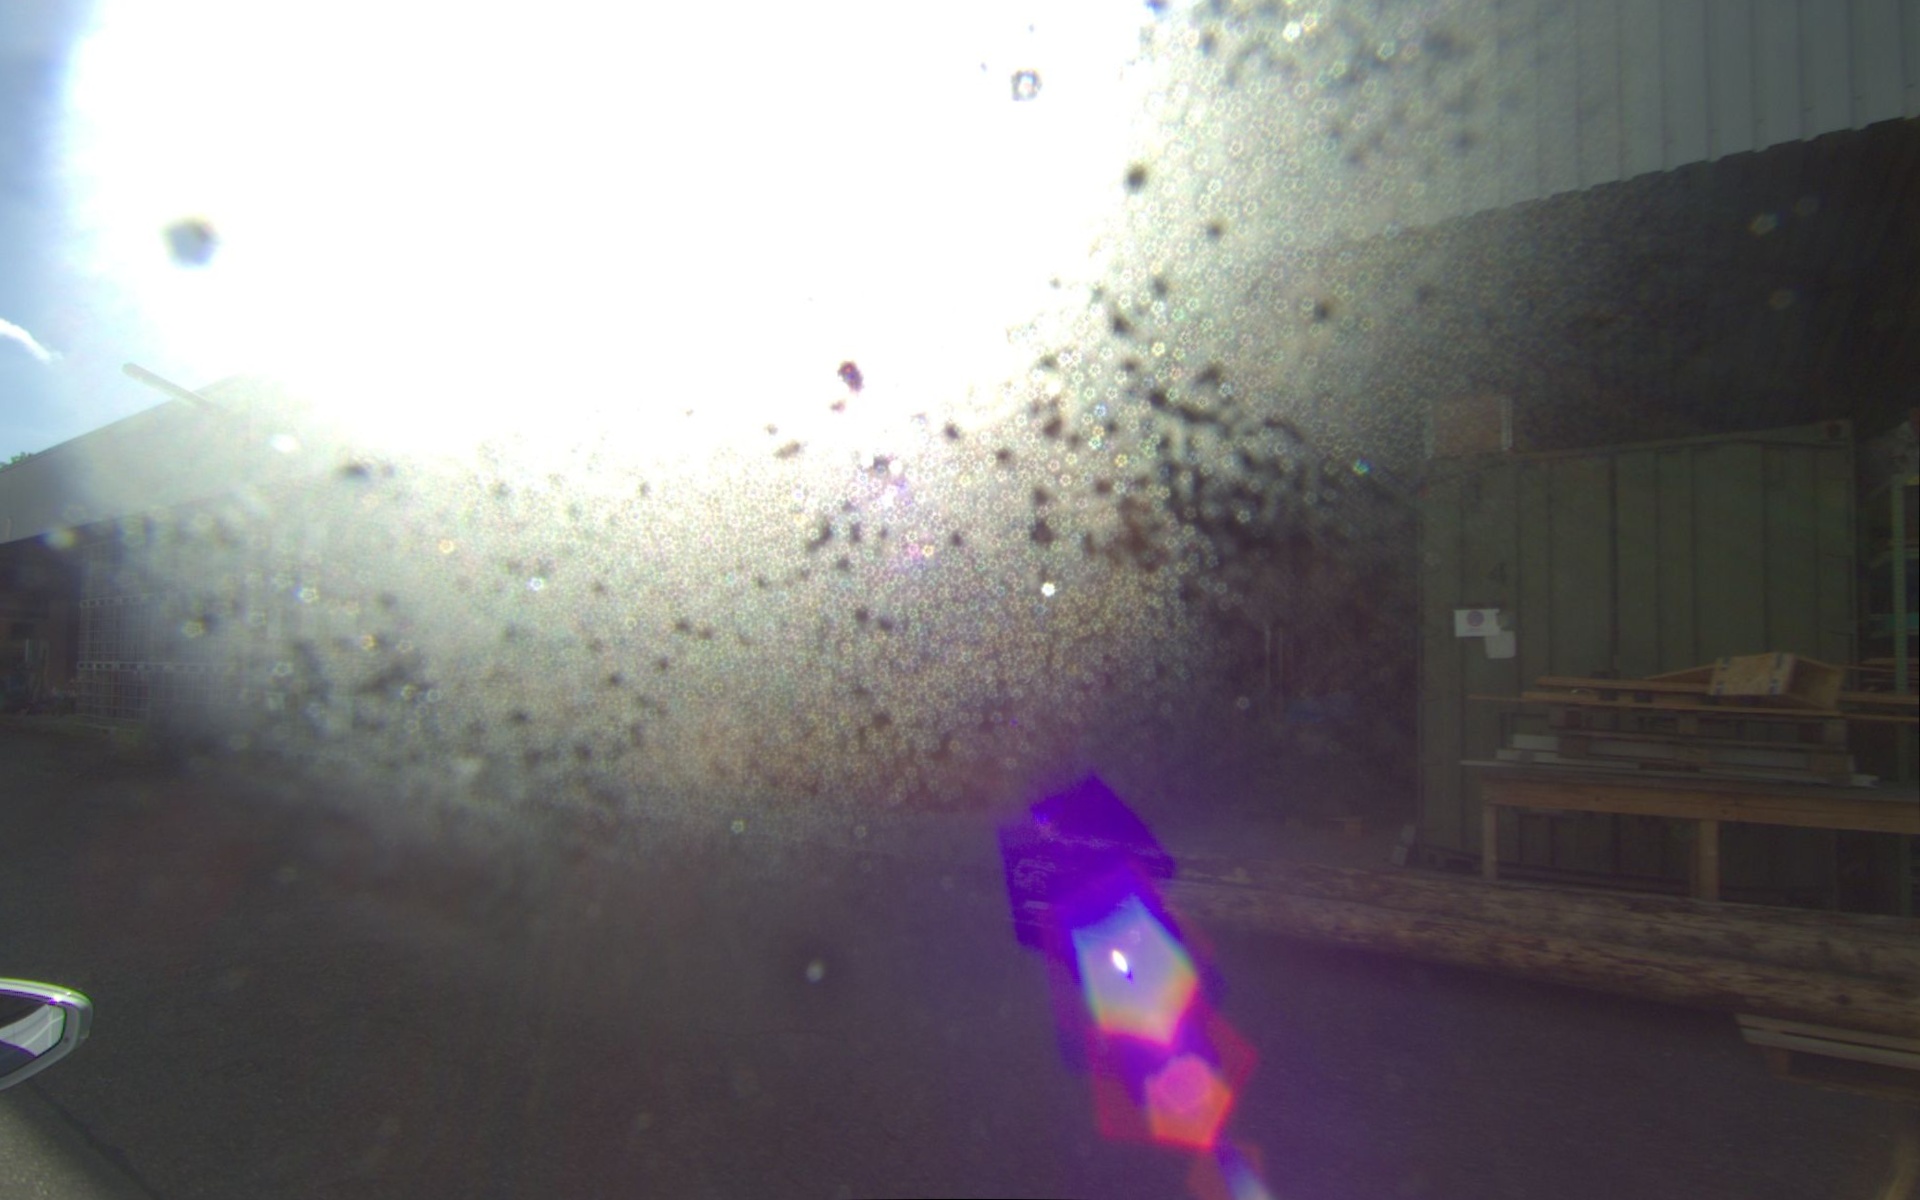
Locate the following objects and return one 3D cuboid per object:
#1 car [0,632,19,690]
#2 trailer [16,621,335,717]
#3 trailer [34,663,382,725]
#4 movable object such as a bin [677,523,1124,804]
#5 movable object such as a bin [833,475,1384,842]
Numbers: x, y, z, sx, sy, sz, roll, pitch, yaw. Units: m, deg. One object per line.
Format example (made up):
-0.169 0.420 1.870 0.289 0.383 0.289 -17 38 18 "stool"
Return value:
-40.709 2.342 39.802 1.891 2.335 4.426 -4 -8 35 "car"
-18.881 1.696 24.467 2.050 2.057 5.754 -1 -4 35 "trailer"
-16.474 2.045 22.372 2.111 1.147 5.841 -1 -4 33 "trailer"
-0.441 0.930 13.913 2.976 2.944 6.174 -1 -5 35 "movable object such as a bin"
2.686 0.843 12.720 3.169 2.944 9.176 -1 -5 35 "movable object such as a bin"
